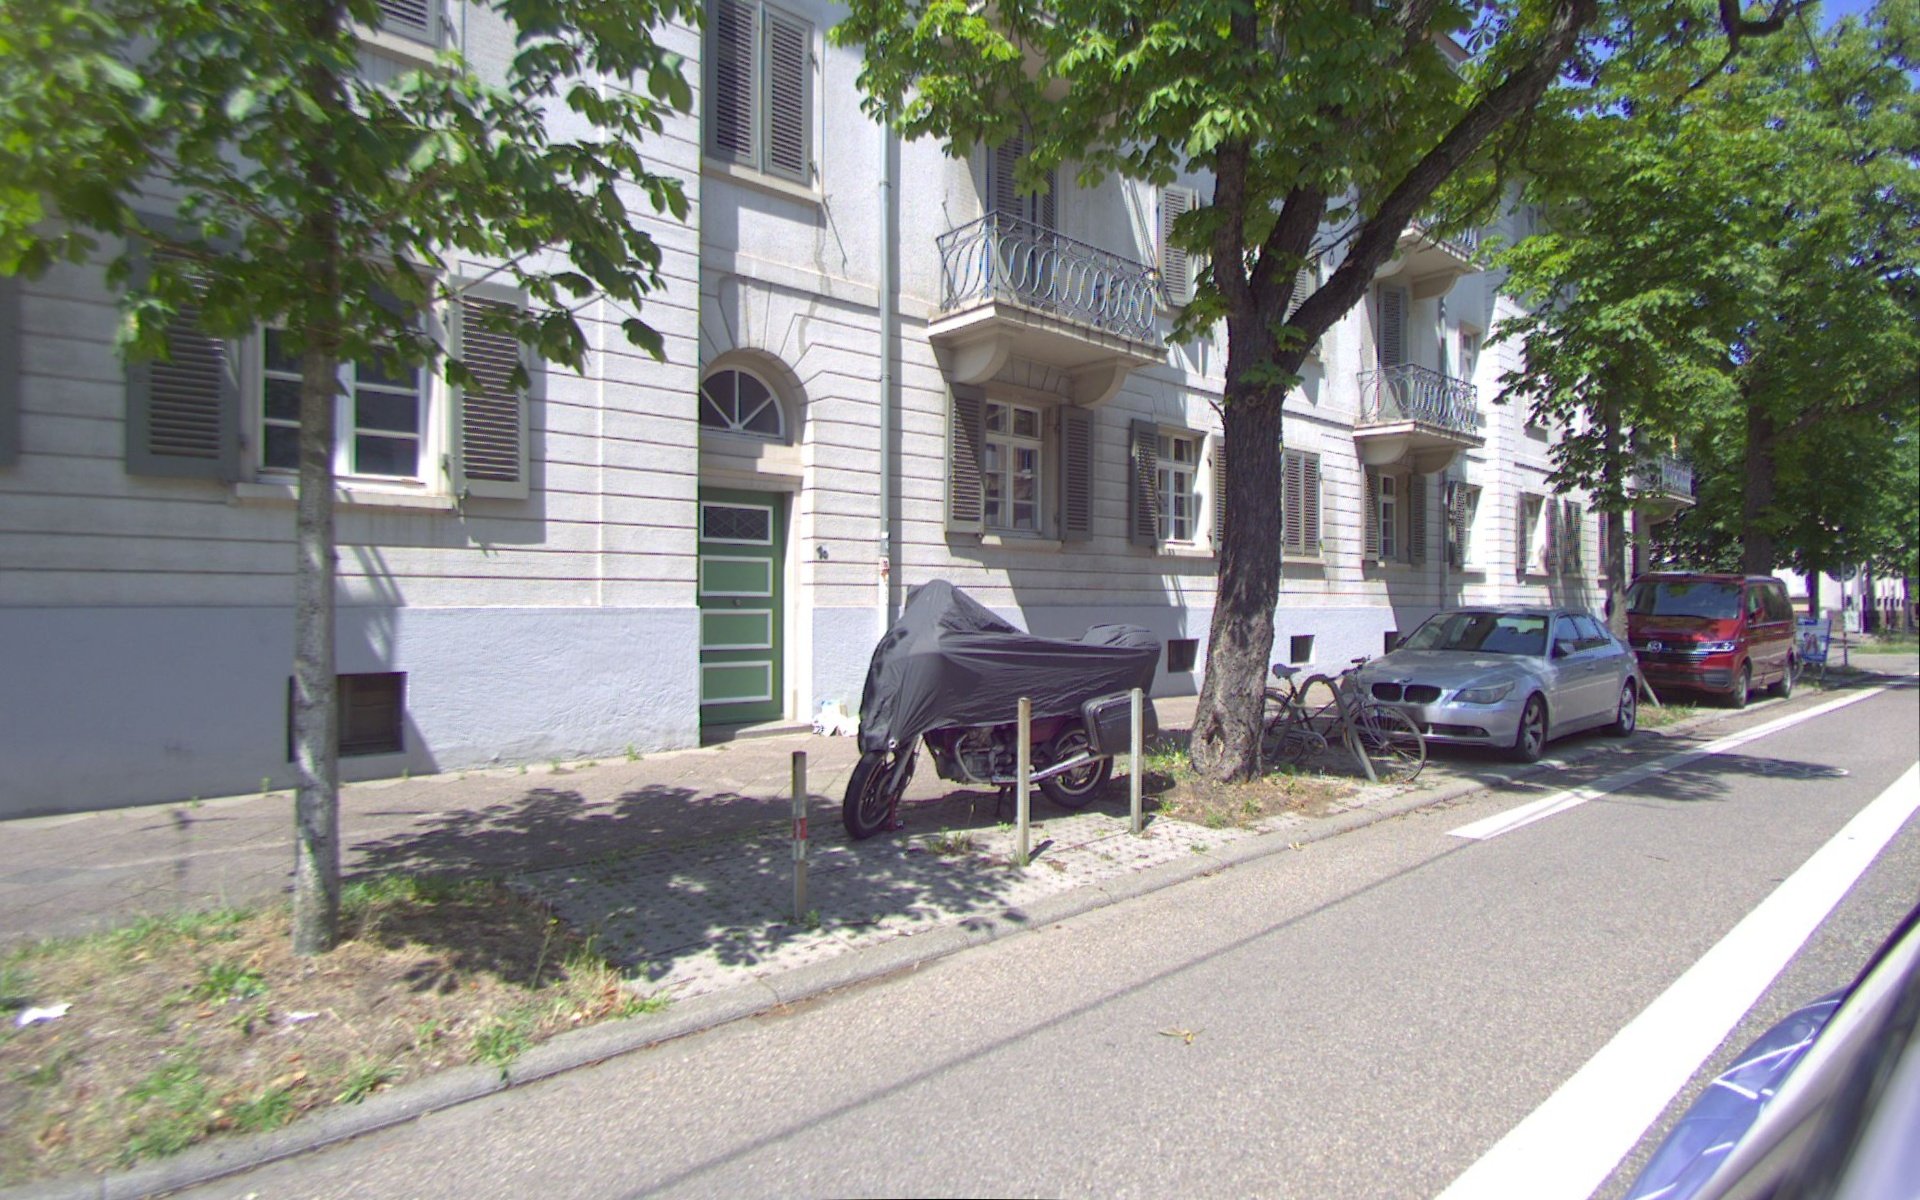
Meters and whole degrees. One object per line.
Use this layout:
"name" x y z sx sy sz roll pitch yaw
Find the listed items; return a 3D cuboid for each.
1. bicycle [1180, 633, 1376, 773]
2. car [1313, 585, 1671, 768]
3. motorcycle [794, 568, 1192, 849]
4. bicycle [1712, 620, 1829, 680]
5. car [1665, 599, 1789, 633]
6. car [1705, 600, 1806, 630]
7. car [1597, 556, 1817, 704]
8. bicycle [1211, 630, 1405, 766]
"bicycle" 2.644 0.819 8.580 0.365 1.028 1.661 1 0 -40
"car" 5.984 0.667 11.102 4.792 1.597 1.863 0 0 -41
"motorcycle" 0.269 0.594 6.455 2.507 1.525 0.748 1 0 -30
"bicycle" 15.214 0.921 19.031 1.696 1.034 0.359 1 1 44
"car" 36.987 0.801 49.000 1.837 1.535 4.683 0 -2 -12
"car" 41.526 0.745 52.901 1.611 1.465 3.892 -1 1 -19
"car" 12.160 0.425 16.341 4.889 2.039 1.862 0 -1 -41
"bicycle" 2.992 0.807 8.836 0.365 1.028 1.661 1 0 -40
